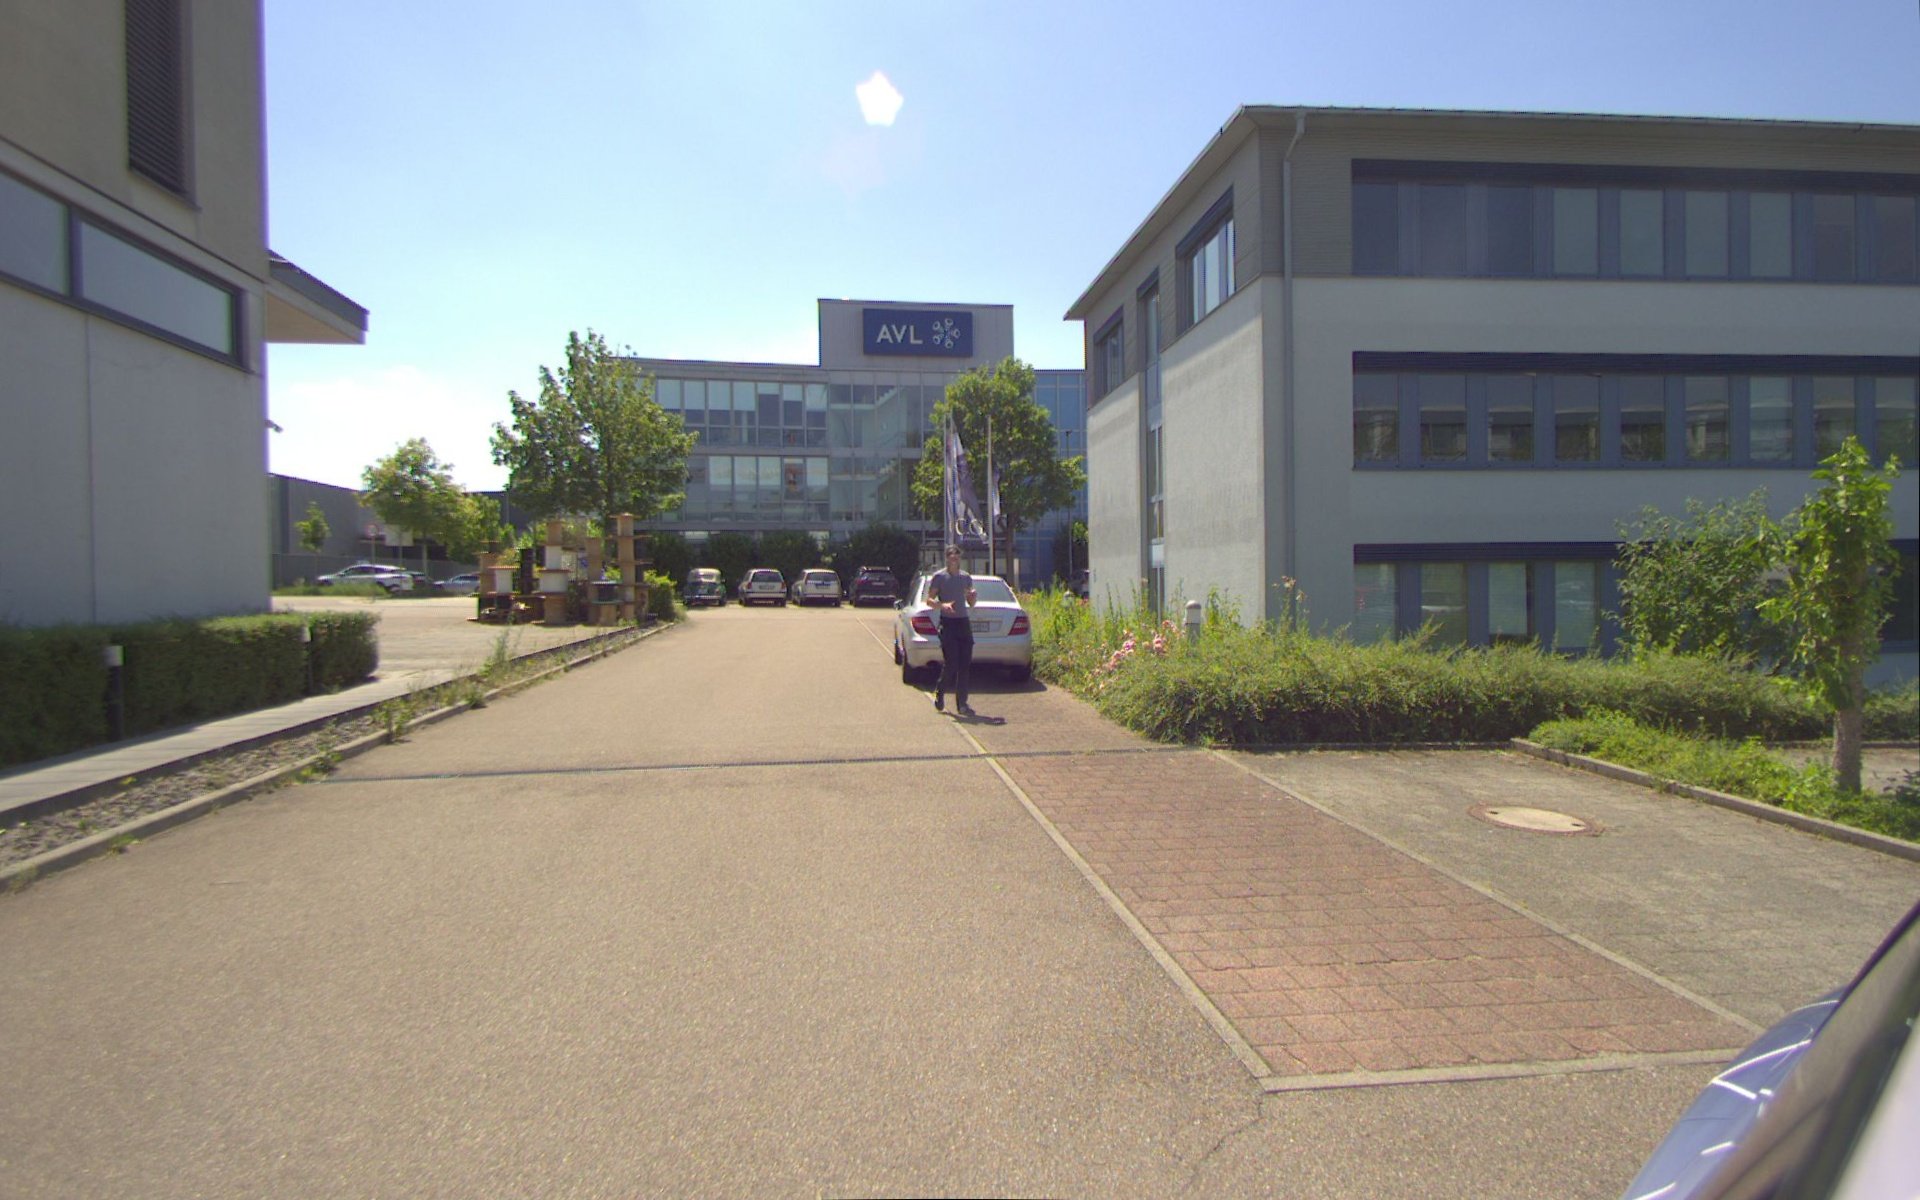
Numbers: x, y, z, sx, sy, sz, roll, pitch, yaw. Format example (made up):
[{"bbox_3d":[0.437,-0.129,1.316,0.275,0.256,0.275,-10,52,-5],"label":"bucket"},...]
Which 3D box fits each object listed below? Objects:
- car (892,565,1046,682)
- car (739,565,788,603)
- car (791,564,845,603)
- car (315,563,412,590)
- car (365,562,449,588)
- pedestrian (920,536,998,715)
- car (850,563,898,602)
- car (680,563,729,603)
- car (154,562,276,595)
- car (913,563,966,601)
[{"bbox_3d":[-0.006,0.267,14.506,1.694,1.454,3.722,0,1,-8],"label":"car"},{"bbox_3d":[-8.012,-0.635,41.102,1.639,1.458,4.009,0,1,-15],"label":"car"},{"bbox_3d":[-5.957,-0.670,42.009,1.713,1.538,4.009,0,1,-15],"label":"car"},{"bbox_3d":[-32.466,-1.260,55.107,4.369,1.433,1.747,0,0,5],"label":"car"},{"bbox_3d":[-32.090,-1.451,58.748,3.994,1.433,1.747,0,0,5],"label":"car"},{"bbox_3d":[-0.019,0.244,10.540,0.606,1.779,0.790,0,0,-17],"label":"pedestrian"},{"bbox_3d":[-3.599,-0.727,42.051,1.714,1.538,4.007,0,1,-9],"label":"car"},{"bbox_3d":[-10.185,-0.679,40.528,1.713,1.538,4.008,0,1,-11],"label":"car"},{"bbox_3d":[-33.330,-0.942,45.345,4.370,1.433,1.747,0,0,6],"label":"car"},{"bbox_3d":[-0.921,-0.748,42.636,1.714,1.538,4.007,0,1,-9],"label":"car"}]
